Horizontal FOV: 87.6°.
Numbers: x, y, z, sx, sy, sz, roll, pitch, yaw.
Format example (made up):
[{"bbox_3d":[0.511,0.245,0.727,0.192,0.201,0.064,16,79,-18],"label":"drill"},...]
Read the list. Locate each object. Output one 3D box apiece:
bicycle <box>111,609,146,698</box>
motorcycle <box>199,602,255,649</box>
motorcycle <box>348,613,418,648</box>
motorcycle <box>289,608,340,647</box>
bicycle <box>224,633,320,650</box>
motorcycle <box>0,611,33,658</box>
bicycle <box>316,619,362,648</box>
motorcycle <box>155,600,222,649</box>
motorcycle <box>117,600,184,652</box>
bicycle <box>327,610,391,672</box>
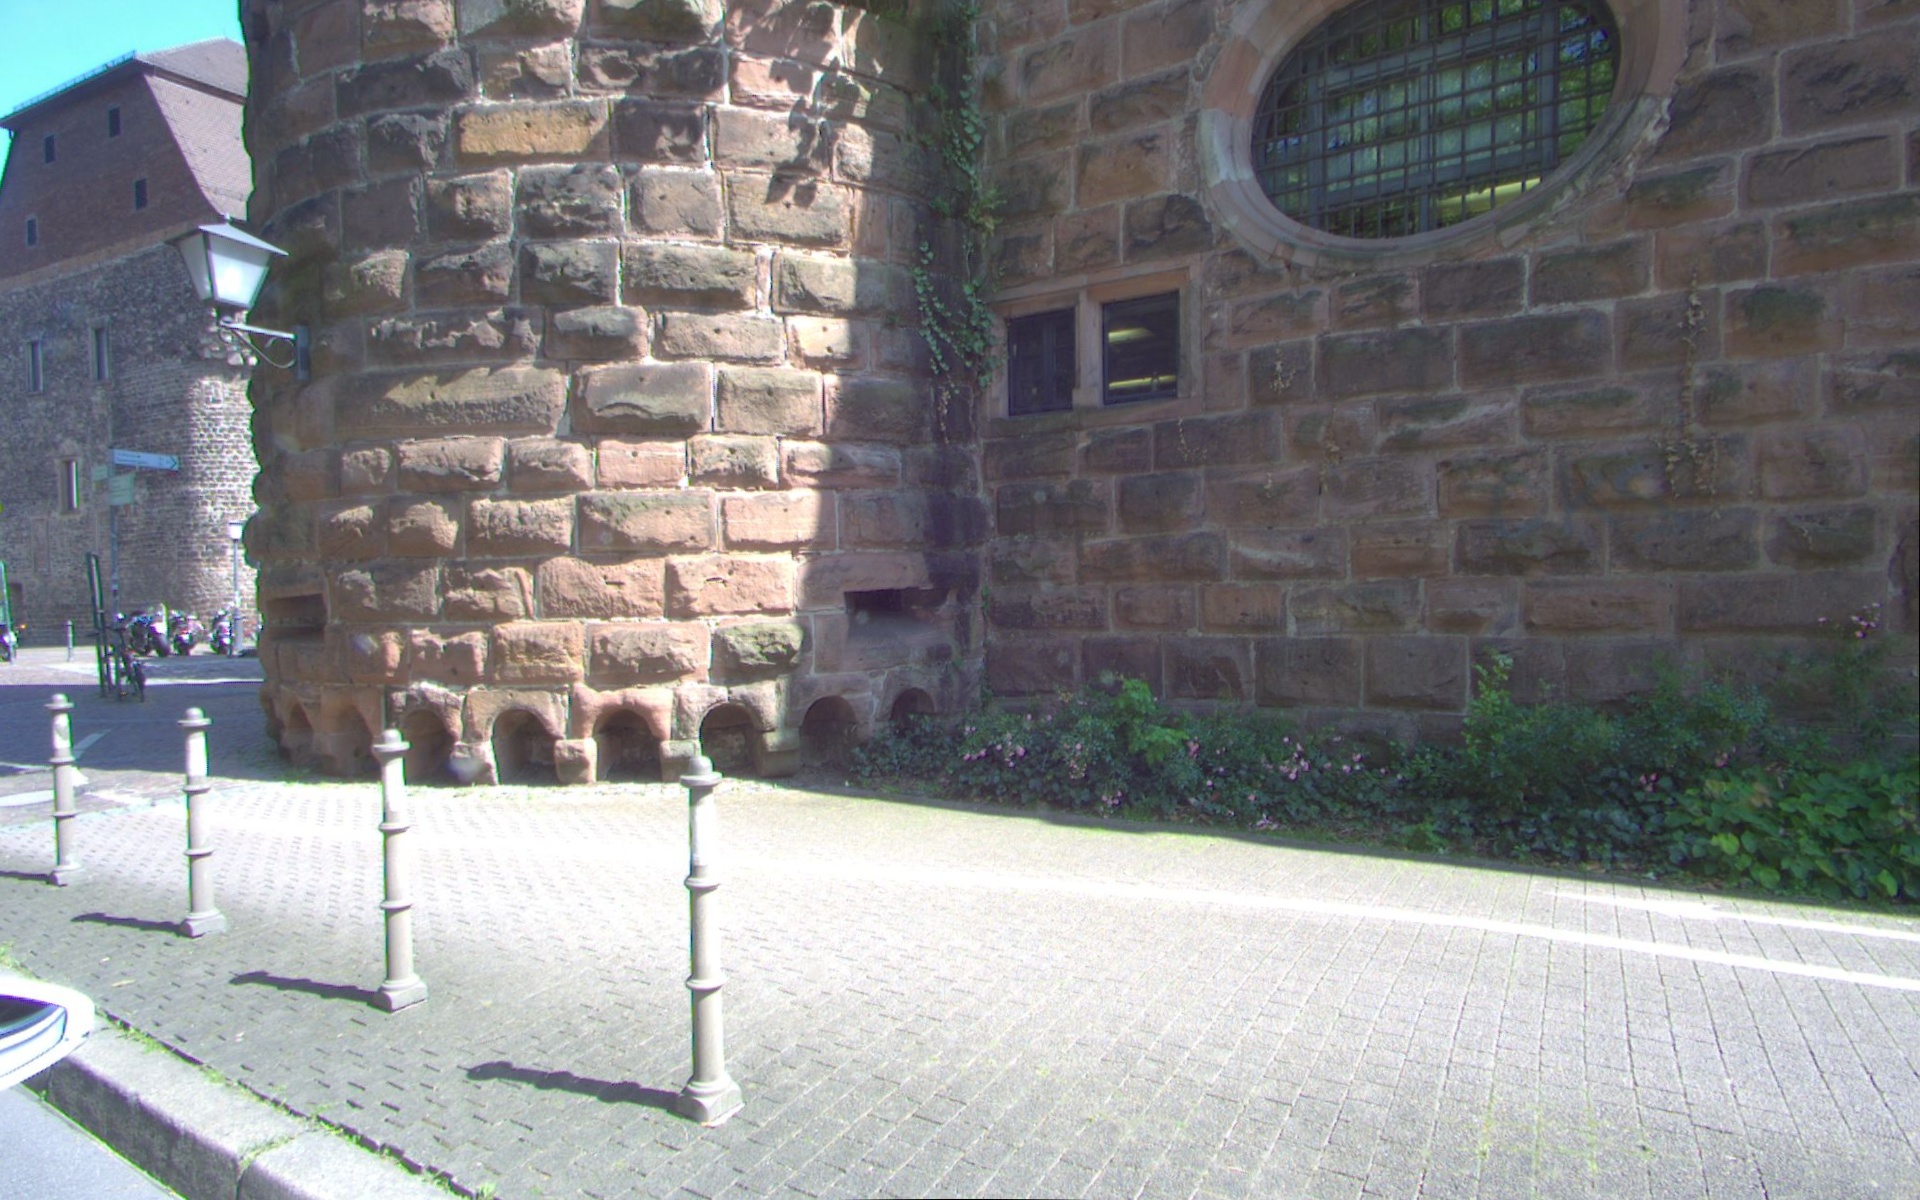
[{"bbox_3d":[-12.028,0.745,14.473,1.750,1.220,0.192,0,1,44],"label":"bicycle"},{"bbox_3d":[-19.830,0.702,27.074,2.002,1.251,0.545,-1,-2,32],"label":"motorcycle"},{"bbox_3d":[-17.995,0.962,31.279,0.474,1.067,1.858,-1,-2,40],"label":"motorcycle"},{"bbox_3d":[-18.135,0.784,28.125,1.814,1.087,0.506,-1,-2,32],"label":"motorcycle"},{"bbox_3d":[-17.578,1.061,25.601,1.916,0.386,0.909,0,-2,-44],"label":"bicycle"},{"bbox_3d":[-22.174,0.776,23.045,2.453,1.026,0.565,0,1,32],"label":"motorcycle"},{"bbox_3d":[-18.366,0.980,29.606,1.898,0.831,0.353,0,-1,32],"label":"bicycle"},{"bbox_3d":[-20.266,0.655,26.289,2.280,1.251,0.674,-1,-2,32],"label":"motorcycle"},{"bbox_3d":[-20.561,0.659,25.422,2.169,1.282,0.654,-1,-1,32],"label":"motorcycle"},{"bbox_3d":[-11.948,0.793,19.888,1.707,1.178,0.445,0,1,36],"label":"bicycle"}]
